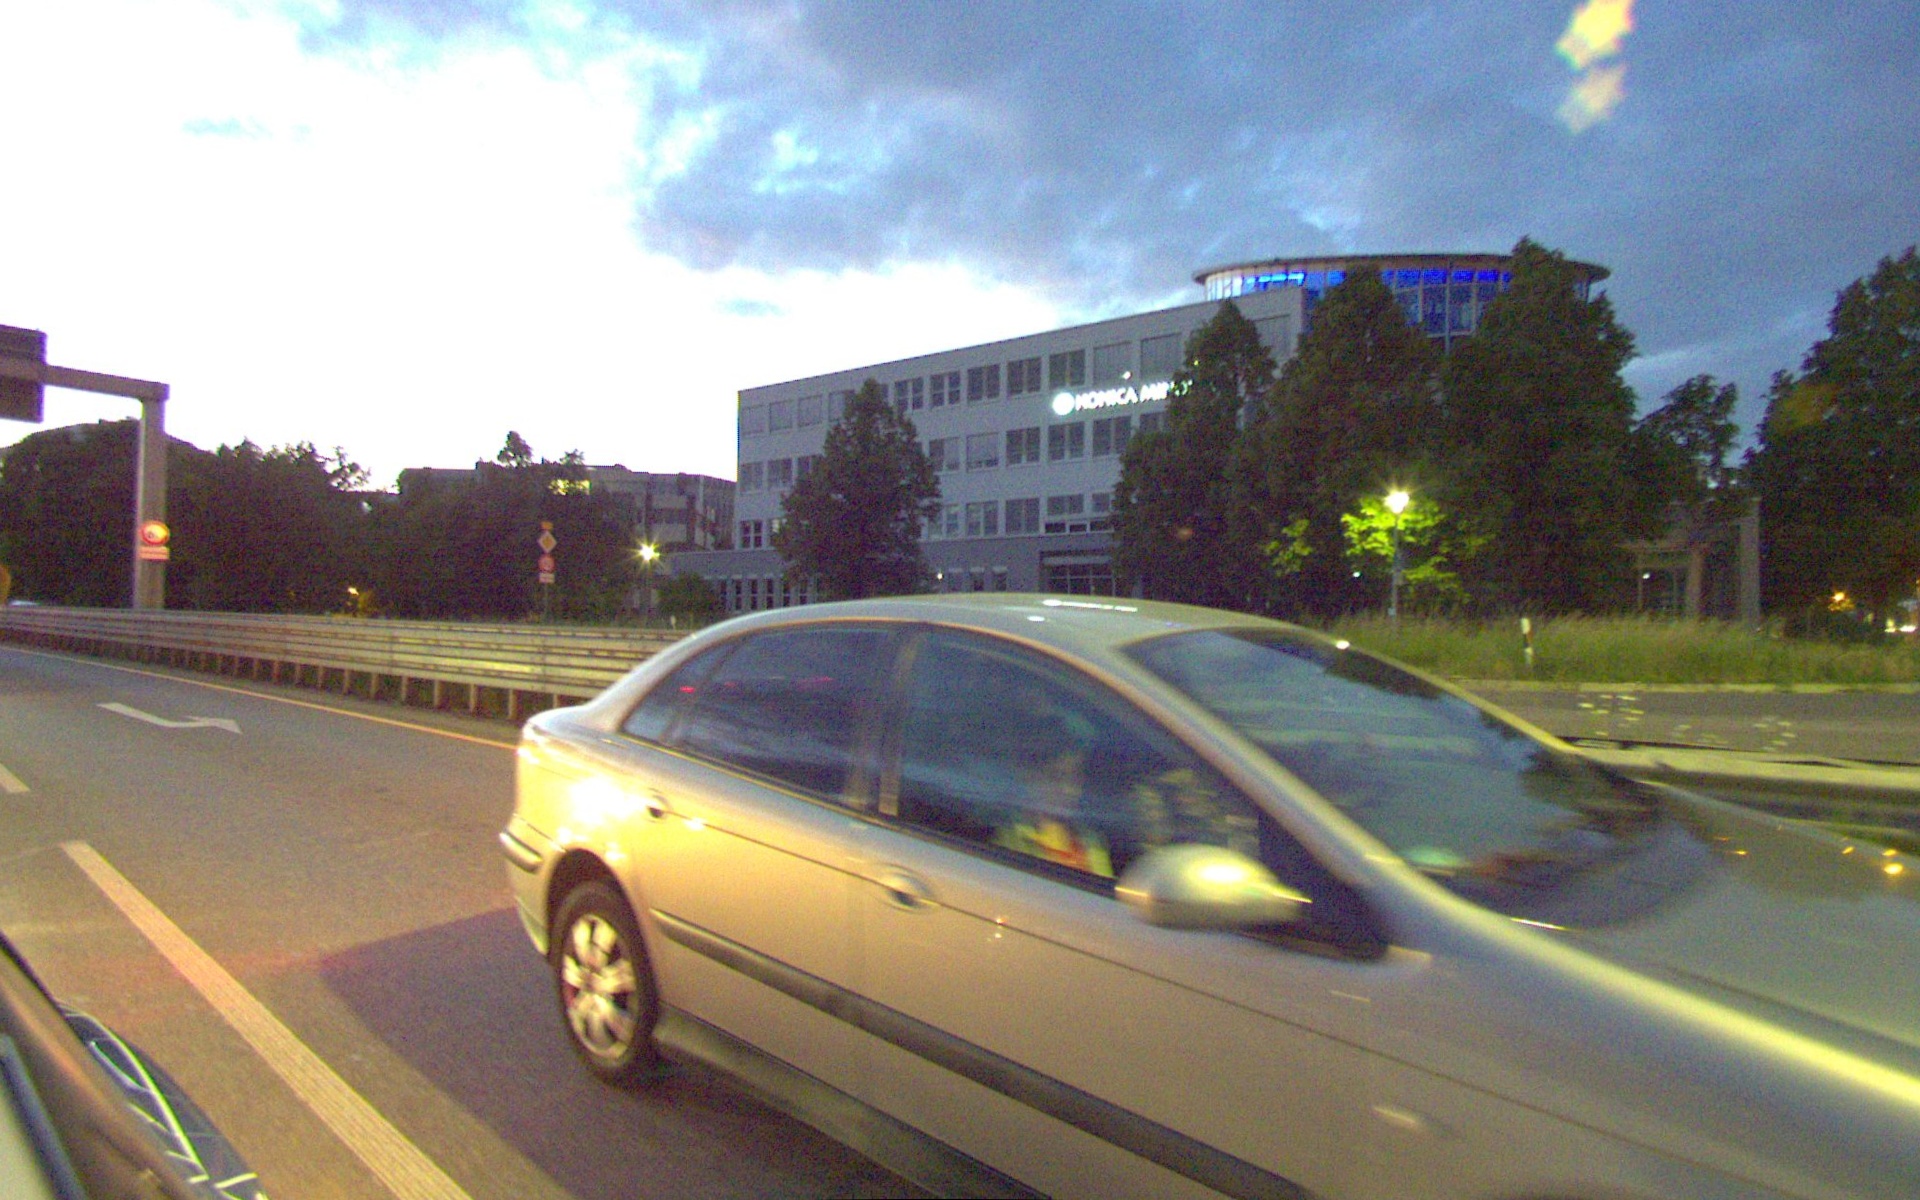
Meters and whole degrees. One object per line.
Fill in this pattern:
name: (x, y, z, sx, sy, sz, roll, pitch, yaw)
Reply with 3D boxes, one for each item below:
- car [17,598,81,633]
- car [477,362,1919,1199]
car: (-39.277, 0.684, 43.614, 4.111, 1.454, 1.738, -1, -2, 44)
car: (0.550, 0.584, 2.589, 4.409, 1.665, 1.648, -1, 0, 42)
